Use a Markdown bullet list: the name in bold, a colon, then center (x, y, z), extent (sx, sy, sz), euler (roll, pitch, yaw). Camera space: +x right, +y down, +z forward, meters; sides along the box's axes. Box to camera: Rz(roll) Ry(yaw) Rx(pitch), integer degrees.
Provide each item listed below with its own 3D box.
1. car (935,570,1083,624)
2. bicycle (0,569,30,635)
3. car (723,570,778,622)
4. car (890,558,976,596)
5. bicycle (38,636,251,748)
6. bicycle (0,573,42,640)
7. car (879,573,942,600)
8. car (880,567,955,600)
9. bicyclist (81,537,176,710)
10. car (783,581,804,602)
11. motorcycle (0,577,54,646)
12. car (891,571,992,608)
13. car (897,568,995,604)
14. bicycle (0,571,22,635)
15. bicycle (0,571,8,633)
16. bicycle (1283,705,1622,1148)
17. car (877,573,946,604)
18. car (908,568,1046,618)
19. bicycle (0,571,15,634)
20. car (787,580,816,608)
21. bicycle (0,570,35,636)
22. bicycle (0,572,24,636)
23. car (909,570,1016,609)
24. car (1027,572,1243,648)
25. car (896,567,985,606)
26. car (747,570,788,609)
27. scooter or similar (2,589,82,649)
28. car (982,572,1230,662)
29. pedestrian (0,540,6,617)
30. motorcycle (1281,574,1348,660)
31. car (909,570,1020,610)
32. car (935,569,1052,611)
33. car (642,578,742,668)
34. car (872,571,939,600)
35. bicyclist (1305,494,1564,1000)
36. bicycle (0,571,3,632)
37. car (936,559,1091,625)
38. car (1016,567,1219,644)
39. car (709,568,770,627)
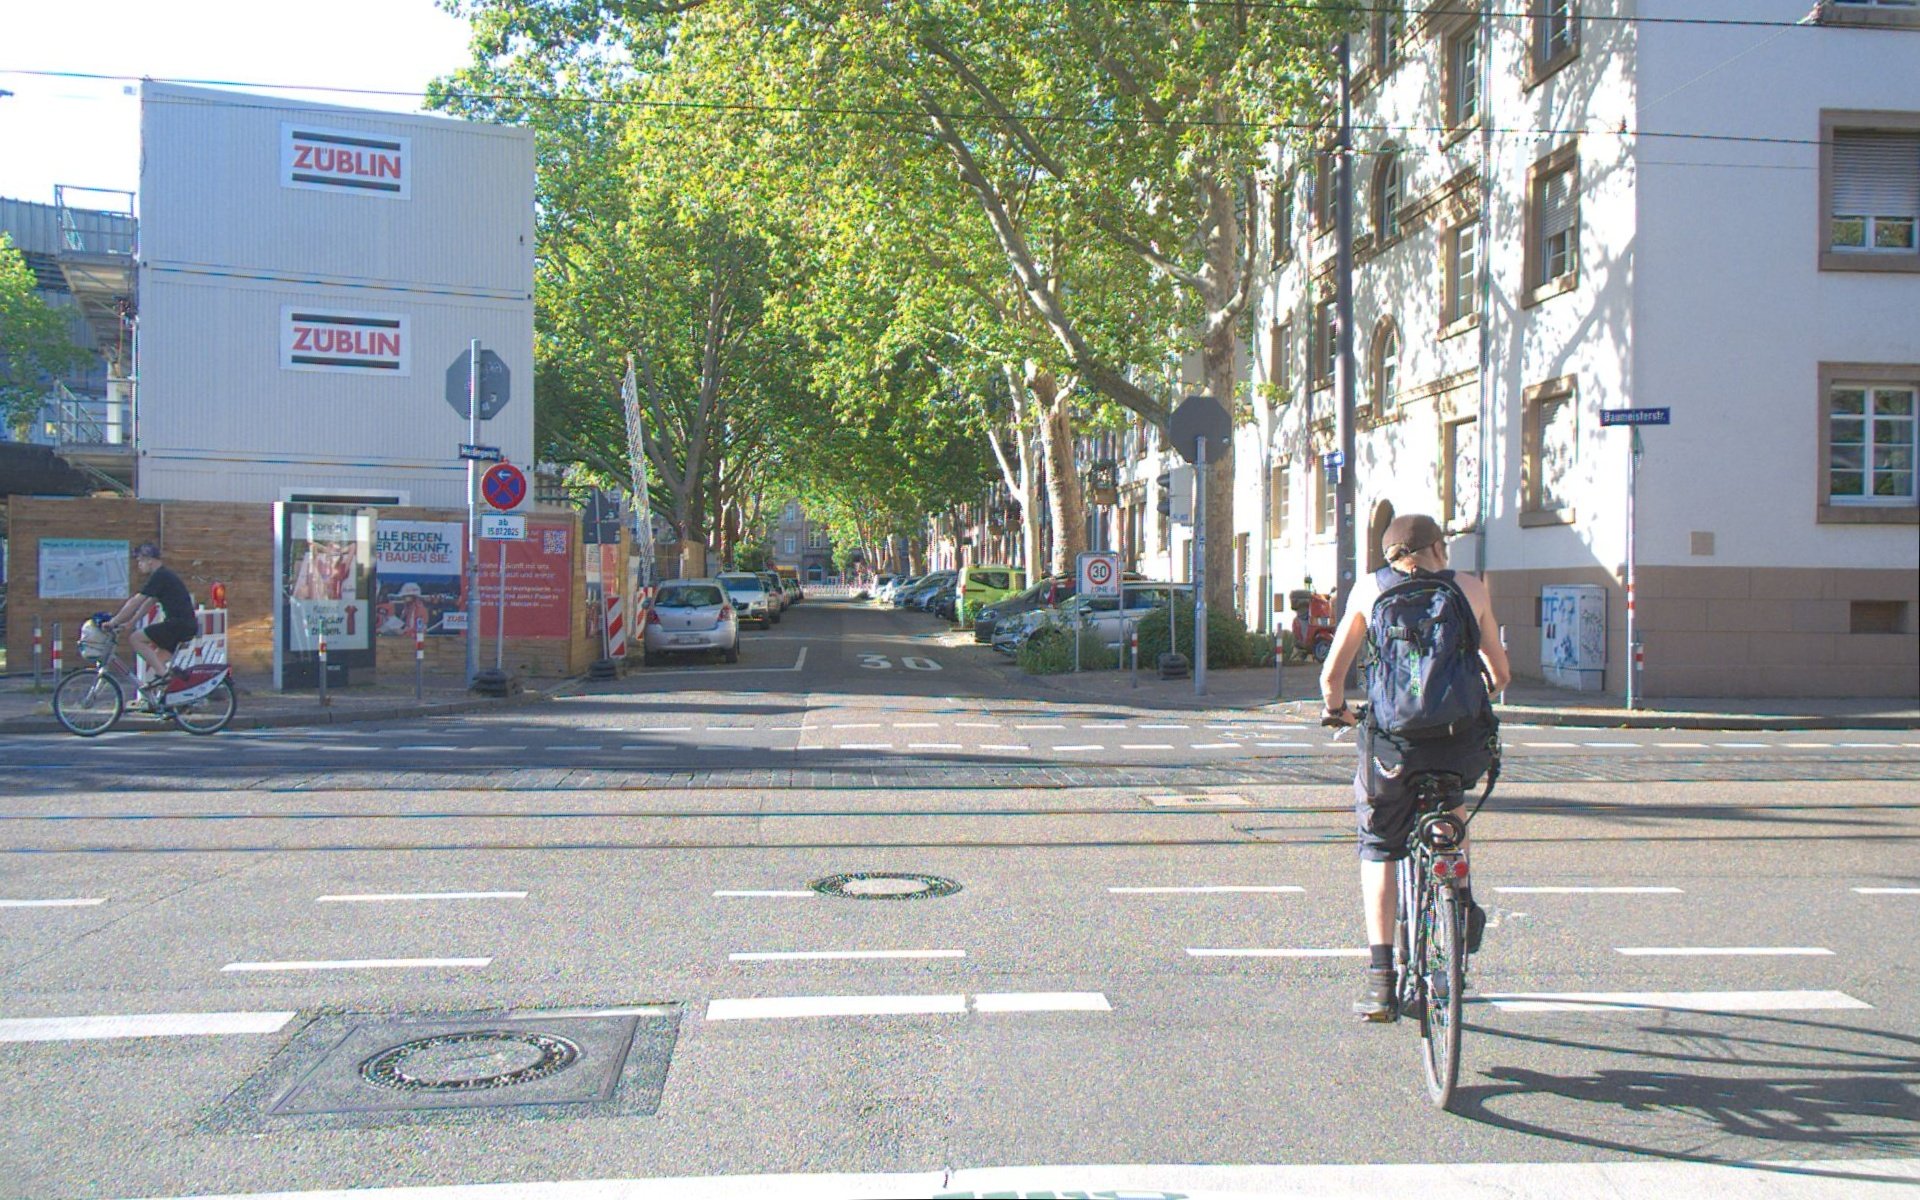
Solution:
- **car**: center (1.475, -0.104, 50.785), extent (4.375, 1.598, 1.726), euler (0, 1, -6)
- **bicycle**: center (-19.344, 0.047, 32.286), extent (2.033, 1.279, 0.464), euler (-1, 2, -43)
- **car**: center (-6.640, -0.153, 52.696), extent (1.633, 1.590, 4.513), euler (0, 1, -7)
- **car**: center (-1.425, -1.223, 86.823), extent (4.375, 1.931, 1.726), euler (0, 1, -6)
- **bicycle**: center (-8.178, 0.903, 16.677), extent (1.889, 1.036, 0.677), euler (0, 1, -23)
- **bicycle**: center (-18.703, 0.120, 31.562), extent (2.033, 1.279, 0.464), euler (-1, 2, -43)
- **car**: center (-3.587, -0.963, 119.039), extent (4.375, 1.931, 1.726), euler (0, 1, -6)
- **car**: center (-2.563, -0.992, 99.578), extent (4.375, 1.931, 1.726), euler (0, 1, -6)
- **bicyclist**: center (-8.334, 0.221, 16.602), extent (0.798, 1.687, 0.678), euler (0, 1, -23)
- **car**: center (-13.094, -0.682, 129.817), extent (1.633, 1.590, 4.213), euler (0, 1, -7)
- **motorcycle**: center (-18.084, 0.215, 30.671), extent (2.194, 1.279, 0.535), euler (-1, 2, -43)
- **car**: center (-0.851, -0.481, 74.434), extent (4.375, 1.598, 1.726), euler (0, 1, -6)
- **car**: center (-0.671, -0.660, 76.776), extent (4.375, 1.598, 1.726), euler (0, 1, -6)
- **bicycle**: center (-19.982, 0.065, 33.121), extent (2.033, 1.279, 0.535), euler (-1, 2, -43)
- **bicycle**: center (-20.767, 0.053, 33.999), extent (2.033, 1.279, 0.535), euler (-1, 2, -43)
- **bicycle**: center (1.521, 0.943, 5.443), extent (0.675, 1.034, 1.909), euler (2, 1, 5)
- **car**: center (-3.139, -0.745, 106.984), extent (4.375, 1.931, 1.726), euler (0, 1, -6)
- **car**: center (0.534, -0.228, 54.651), extent (4.375, 1.598, 1.726), euler (0, 1, -6)
- **bicycle**: center (-20.372, 0.055, 33.556), extent (2.033, 1.279, 0.535), euler (-1, 2, -43)
- **car**: center (-9.518, -0.375, 99.226), extent (1.633, 1.590, 4.213), euler (0, 1, -7)
- **bicycle**: center (-19.030, 0.056, 31.901), extent (2.033, 1.279, 0.464), euler (-1, 2, -43)
- **bicycle**: center (-19.681, 0.082, 32.663), extent (2.033, 1.279, 0.464), euler (-1, 2, -43)
- **car**: center (0.084, -0.428, 69.737), extent (4.375, 1.598, 1.726), euler (0, 1, -6)
- **car**: center (3.747, 0.206, 35.784), extent (4.375, 1.598, 1.726), euler (0, 1, -6)
- **car**: center (-1.021, -0.699, 84.088), extent (4.375, 1.931, 1.726), euler (0, 1, -6)
- **car**: center (-8.079, -0.467, 69.374), extent (1.633, 1.590, 4.610), euler (0, 1, -7)
- **scooter or similar**: center (-16.668, 0.330, 30.059), extent (0.376, 1.038, 1.489), euler (1, 2, 13)
- **car**: center (2.674, 0.300, 30.845), extent (4.375, 1.598, 1.726), euler (0, 1, -6)
- **pedestrian**: center (-25.981, -0.589, 44.197), extent (0.791, 2.048, 1.021), euler (0, 1, -29)
- **motorcycle**: center (5.757, 0.253, 26.958), extent (0.504, 1.356, 1.761), euler (0, 1, -7)
- **car**: center (0.163, -0.412, 67.261), extent (4.375, 1.598, 1.726), euler (0, 1, -6)
- **car**: center (1.280, -0.386, 64.149), extent (4.375, 1.598, 1.726), euler (0, 1, -6)
- **car**: center (-4.966, 0.379, 31.078), extent (1.612, 1.520, 3.995), euler (-2, 1, -7)
- **car**: center (-3.630, -0.965, 109.994), extent (4.375, 1.931, 1.726), euler (0, 1, -6)
- **bicyclist**: center (1.535, 0.448, 5.449), extent (0.662, 1.539, 0.669), euler (2, 0, 5)
- **bicycle**: center (-21.141, 0.036, 34.450), extent (2.033, 1.279, 0.535), euler (-1, 2, -43)
- **car**: center (1.554, -0.245, 48.768), extent (4.376, 1.868, 1.726), euler (0, 1, -7)
- **car**: center (3.565, 0.111, 37.861), extent (4.375, 1.700, 1.726), euler (0, 1, -6)
- **car**: center (-6.226, -0.090, 47.011), extent (1.633, 1.590, 3.995), euler (0, 1, -7)
